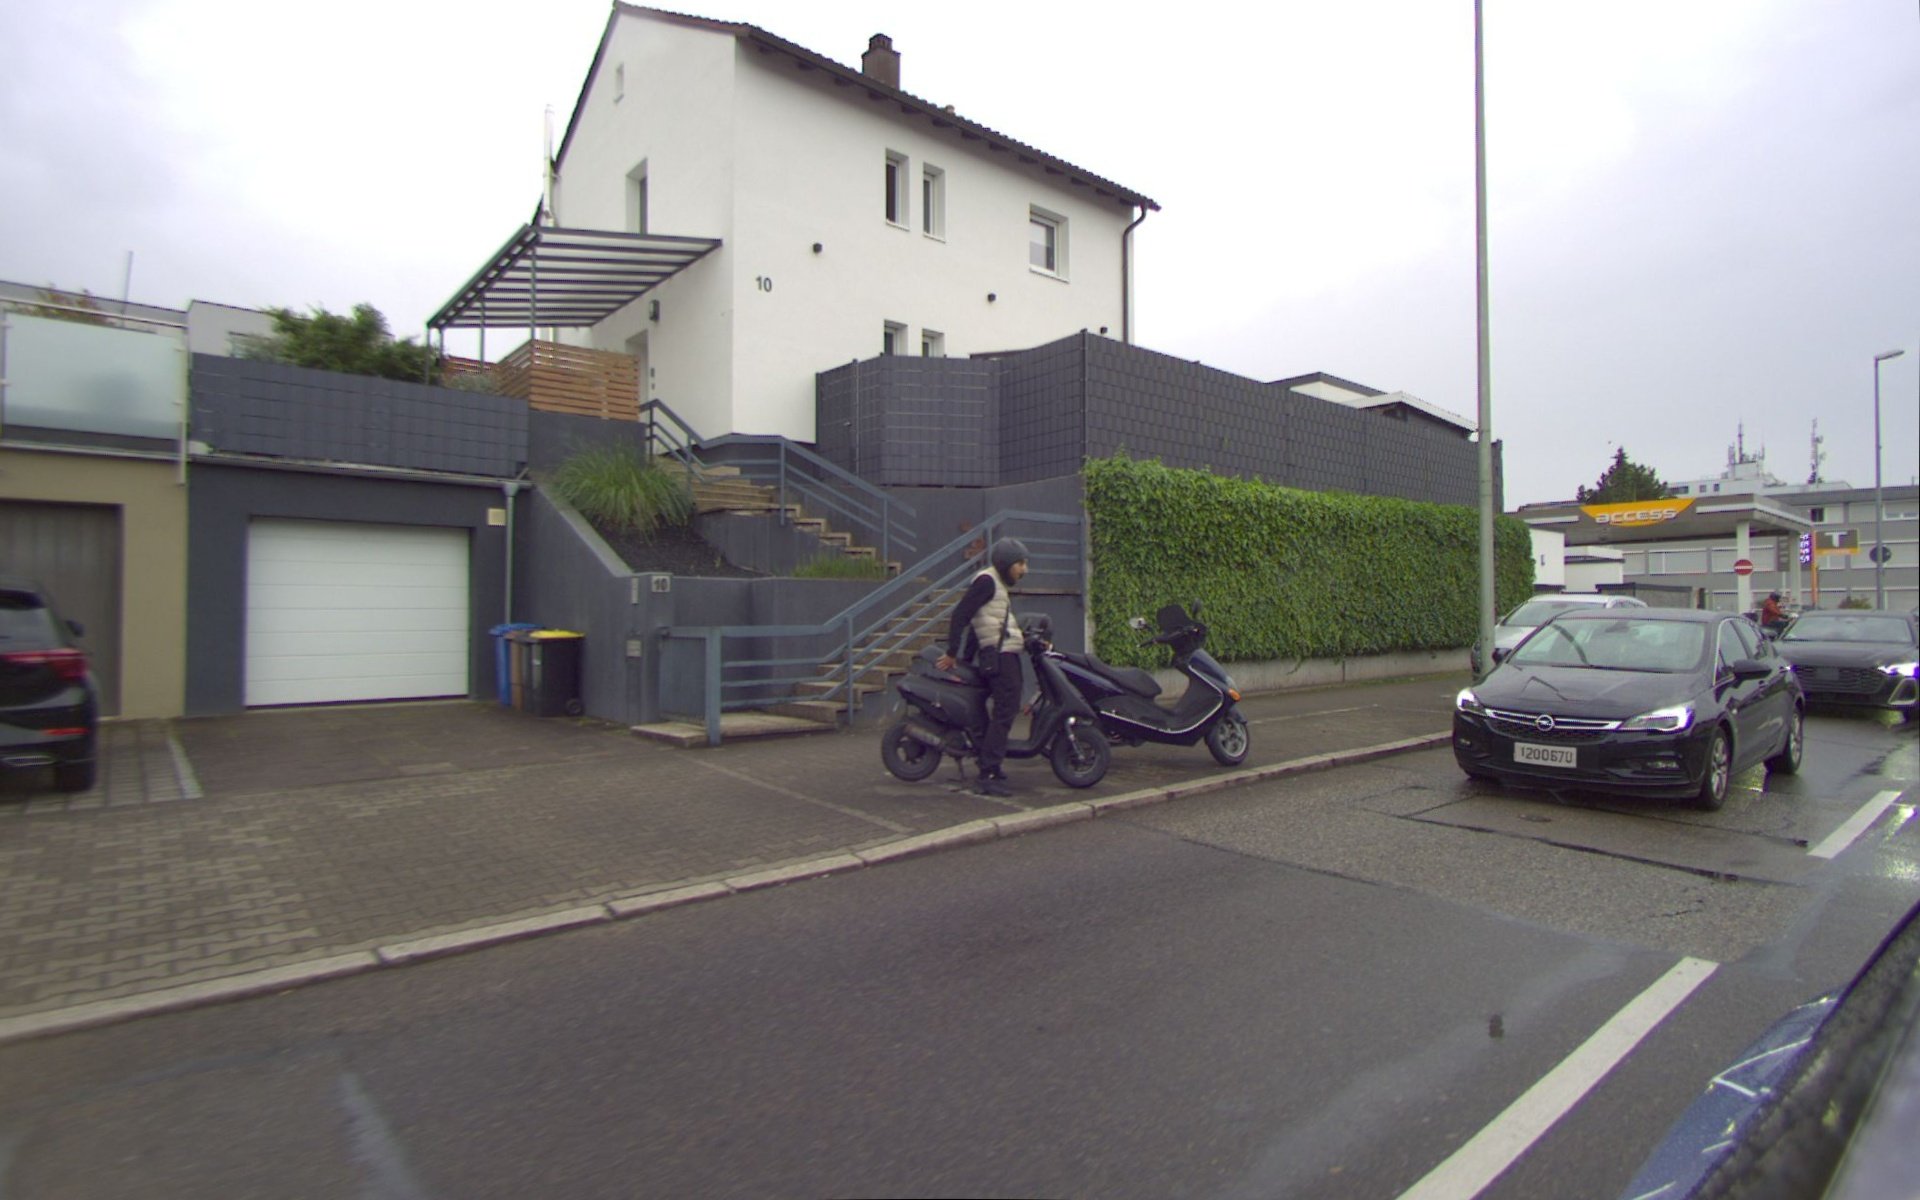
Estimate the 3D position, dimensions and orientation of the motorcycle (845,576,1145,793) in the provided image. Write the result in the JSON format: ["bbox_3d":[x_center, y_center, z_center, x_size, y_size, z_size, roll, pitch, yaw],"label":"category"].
[{"bbox_3d":[0.257,0.581,7.330,2.052,1.469,0.758,-1,-1,6],"label":"motorcycle"}]

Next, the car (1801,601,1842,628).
[{"bbox_3d":[53.647,0.869,63.019,1.809,1.546,3.940,4,3,42],"label":"car"}]

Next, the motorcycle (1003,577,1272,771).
[{"bbox_3d":[1.414,0.570,8.314,2.053,1.469,0.820,1,0,6],"label":"motorcycle"}]

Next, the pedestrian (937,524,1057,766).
[{"bbox_3d":[0.281,0.315,7.333,0.818,1.671,0.621,-1,-1,6],"label":"pedestrian"}]

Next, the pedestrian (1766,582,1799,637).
[{"bbox_3d":[25.019,0.284,30.781,0.600,1.677,0.586,0,-1,-32],"label":"pedestrian"}]

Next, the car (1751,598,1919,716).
[{"bbox_3d":[13.218,0.705,14.582,4.654,1.442,1.870,0,0,-39],"label":"car"}]

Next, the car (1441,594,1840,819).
[{"bbox_3d":[5.869,0.696,8.568,3.929,1.468,1.760,0,0,-40],"label":"car"}]

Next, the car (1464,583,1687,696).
[{"bbox_3d":[9.740,0.527,15.863,4.455,1.529,1.703,0,0,-41],"label":"car"}]

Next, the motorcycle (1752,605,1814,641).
[{"bbox_3d":[24.944,0.695,30.695,0.455,1.069,1.391,0,-1,-31],"label":"motorcycle"}]

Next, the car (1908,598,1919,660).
[{"bbox_3d":[25.878,0.716,25.924,3.929,1.538,1.871,0,0,-40],"label":"car"}]

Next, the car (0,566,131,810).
[{"bbox_3d":[-7.265,0.501,7.314,1.837,1.451,3.993,0,1,-41],"label":"car"}]
